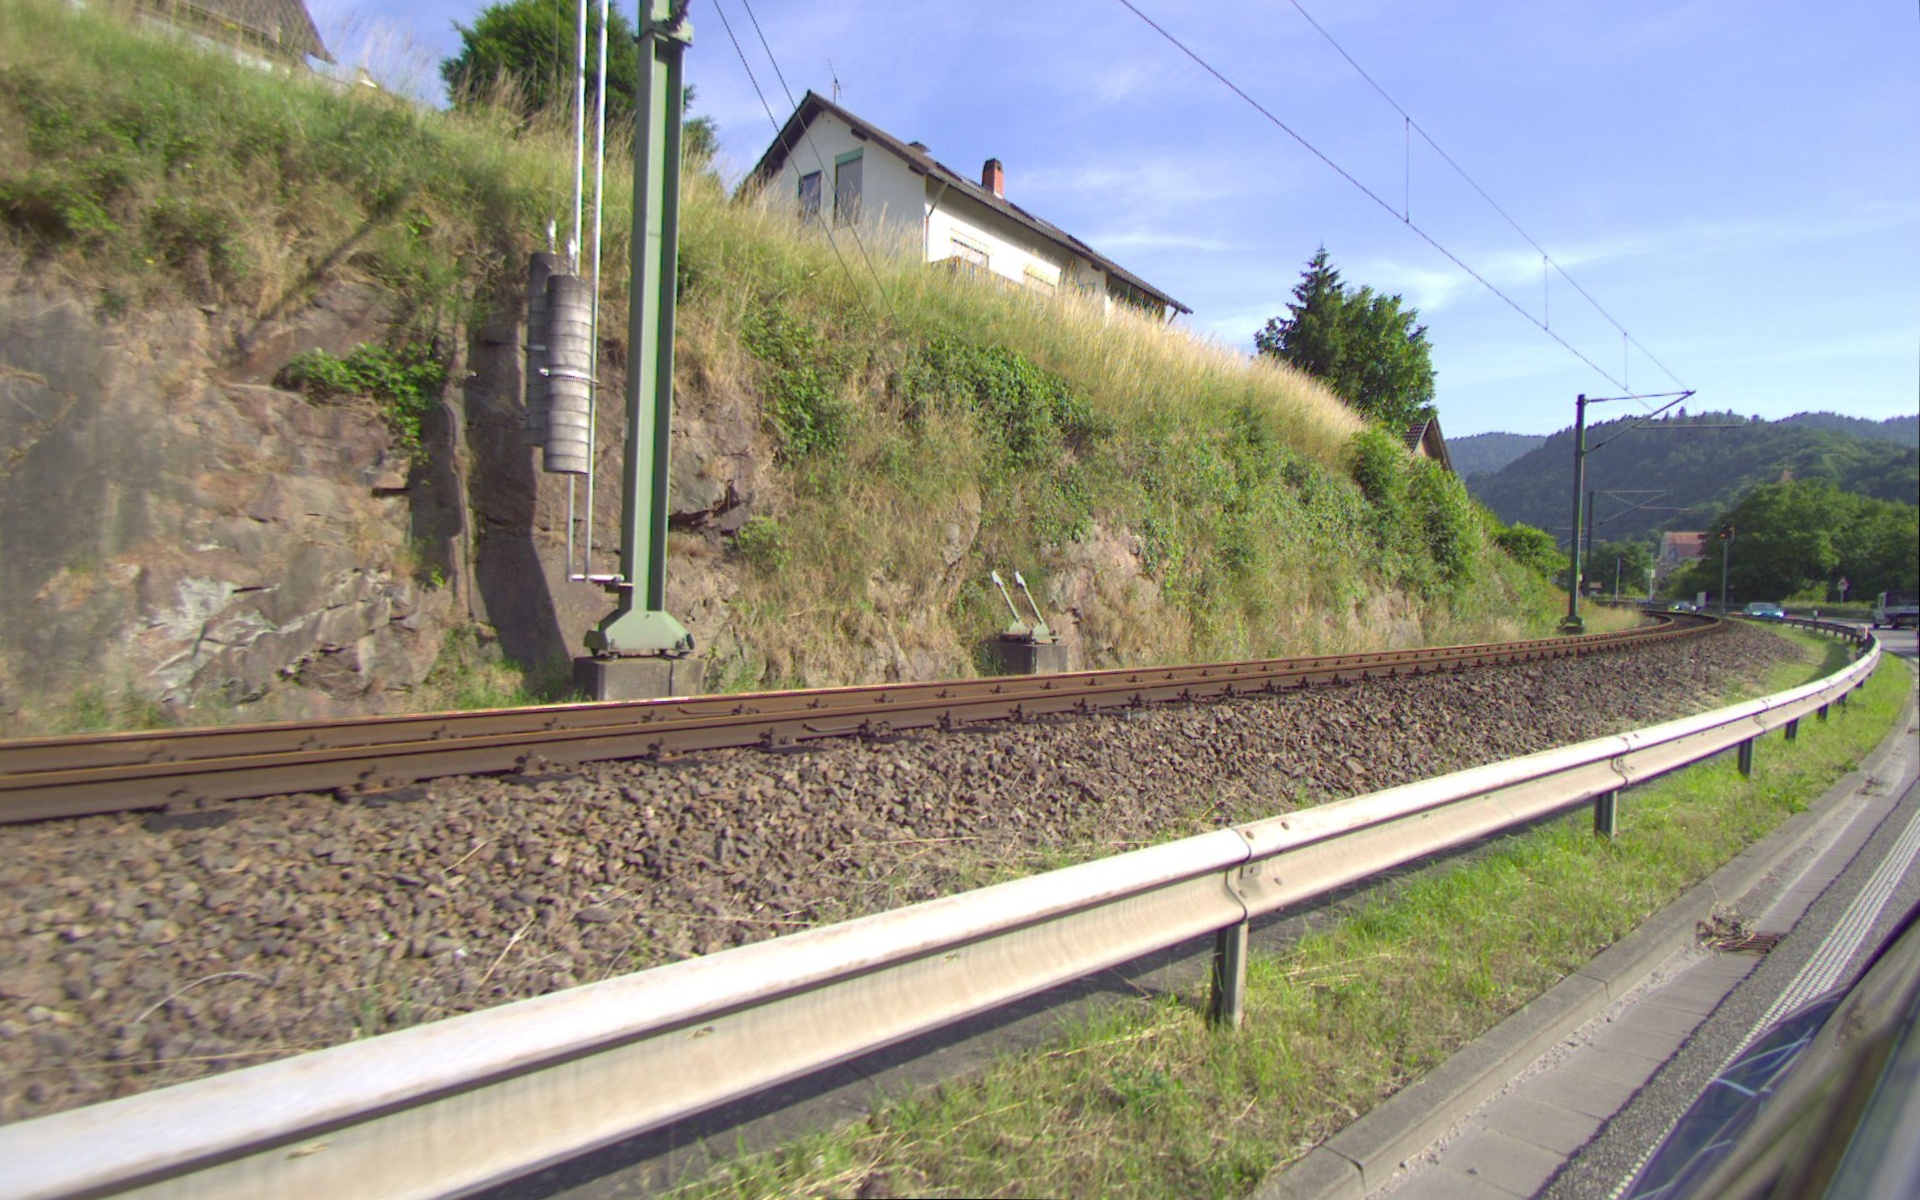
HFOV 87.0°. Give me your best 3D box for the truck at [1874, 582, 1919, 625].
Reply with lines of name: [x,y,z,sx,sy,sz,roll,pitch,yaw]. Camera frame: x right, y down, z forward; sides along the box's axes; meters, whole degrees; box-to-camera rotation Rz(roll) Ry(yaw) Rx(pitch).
truck: [55.575,0.144,58.799,2.145,2.396,6.675,-2,-1,30]

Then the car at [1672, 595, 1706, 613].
car: [72.431,0.410,100.562,1.865,1.767,4.145,0,0,23]

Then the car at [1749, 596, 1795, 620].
car: [59.404,0.561,74.085,1.869,1.767,4.137,0,0,28]
